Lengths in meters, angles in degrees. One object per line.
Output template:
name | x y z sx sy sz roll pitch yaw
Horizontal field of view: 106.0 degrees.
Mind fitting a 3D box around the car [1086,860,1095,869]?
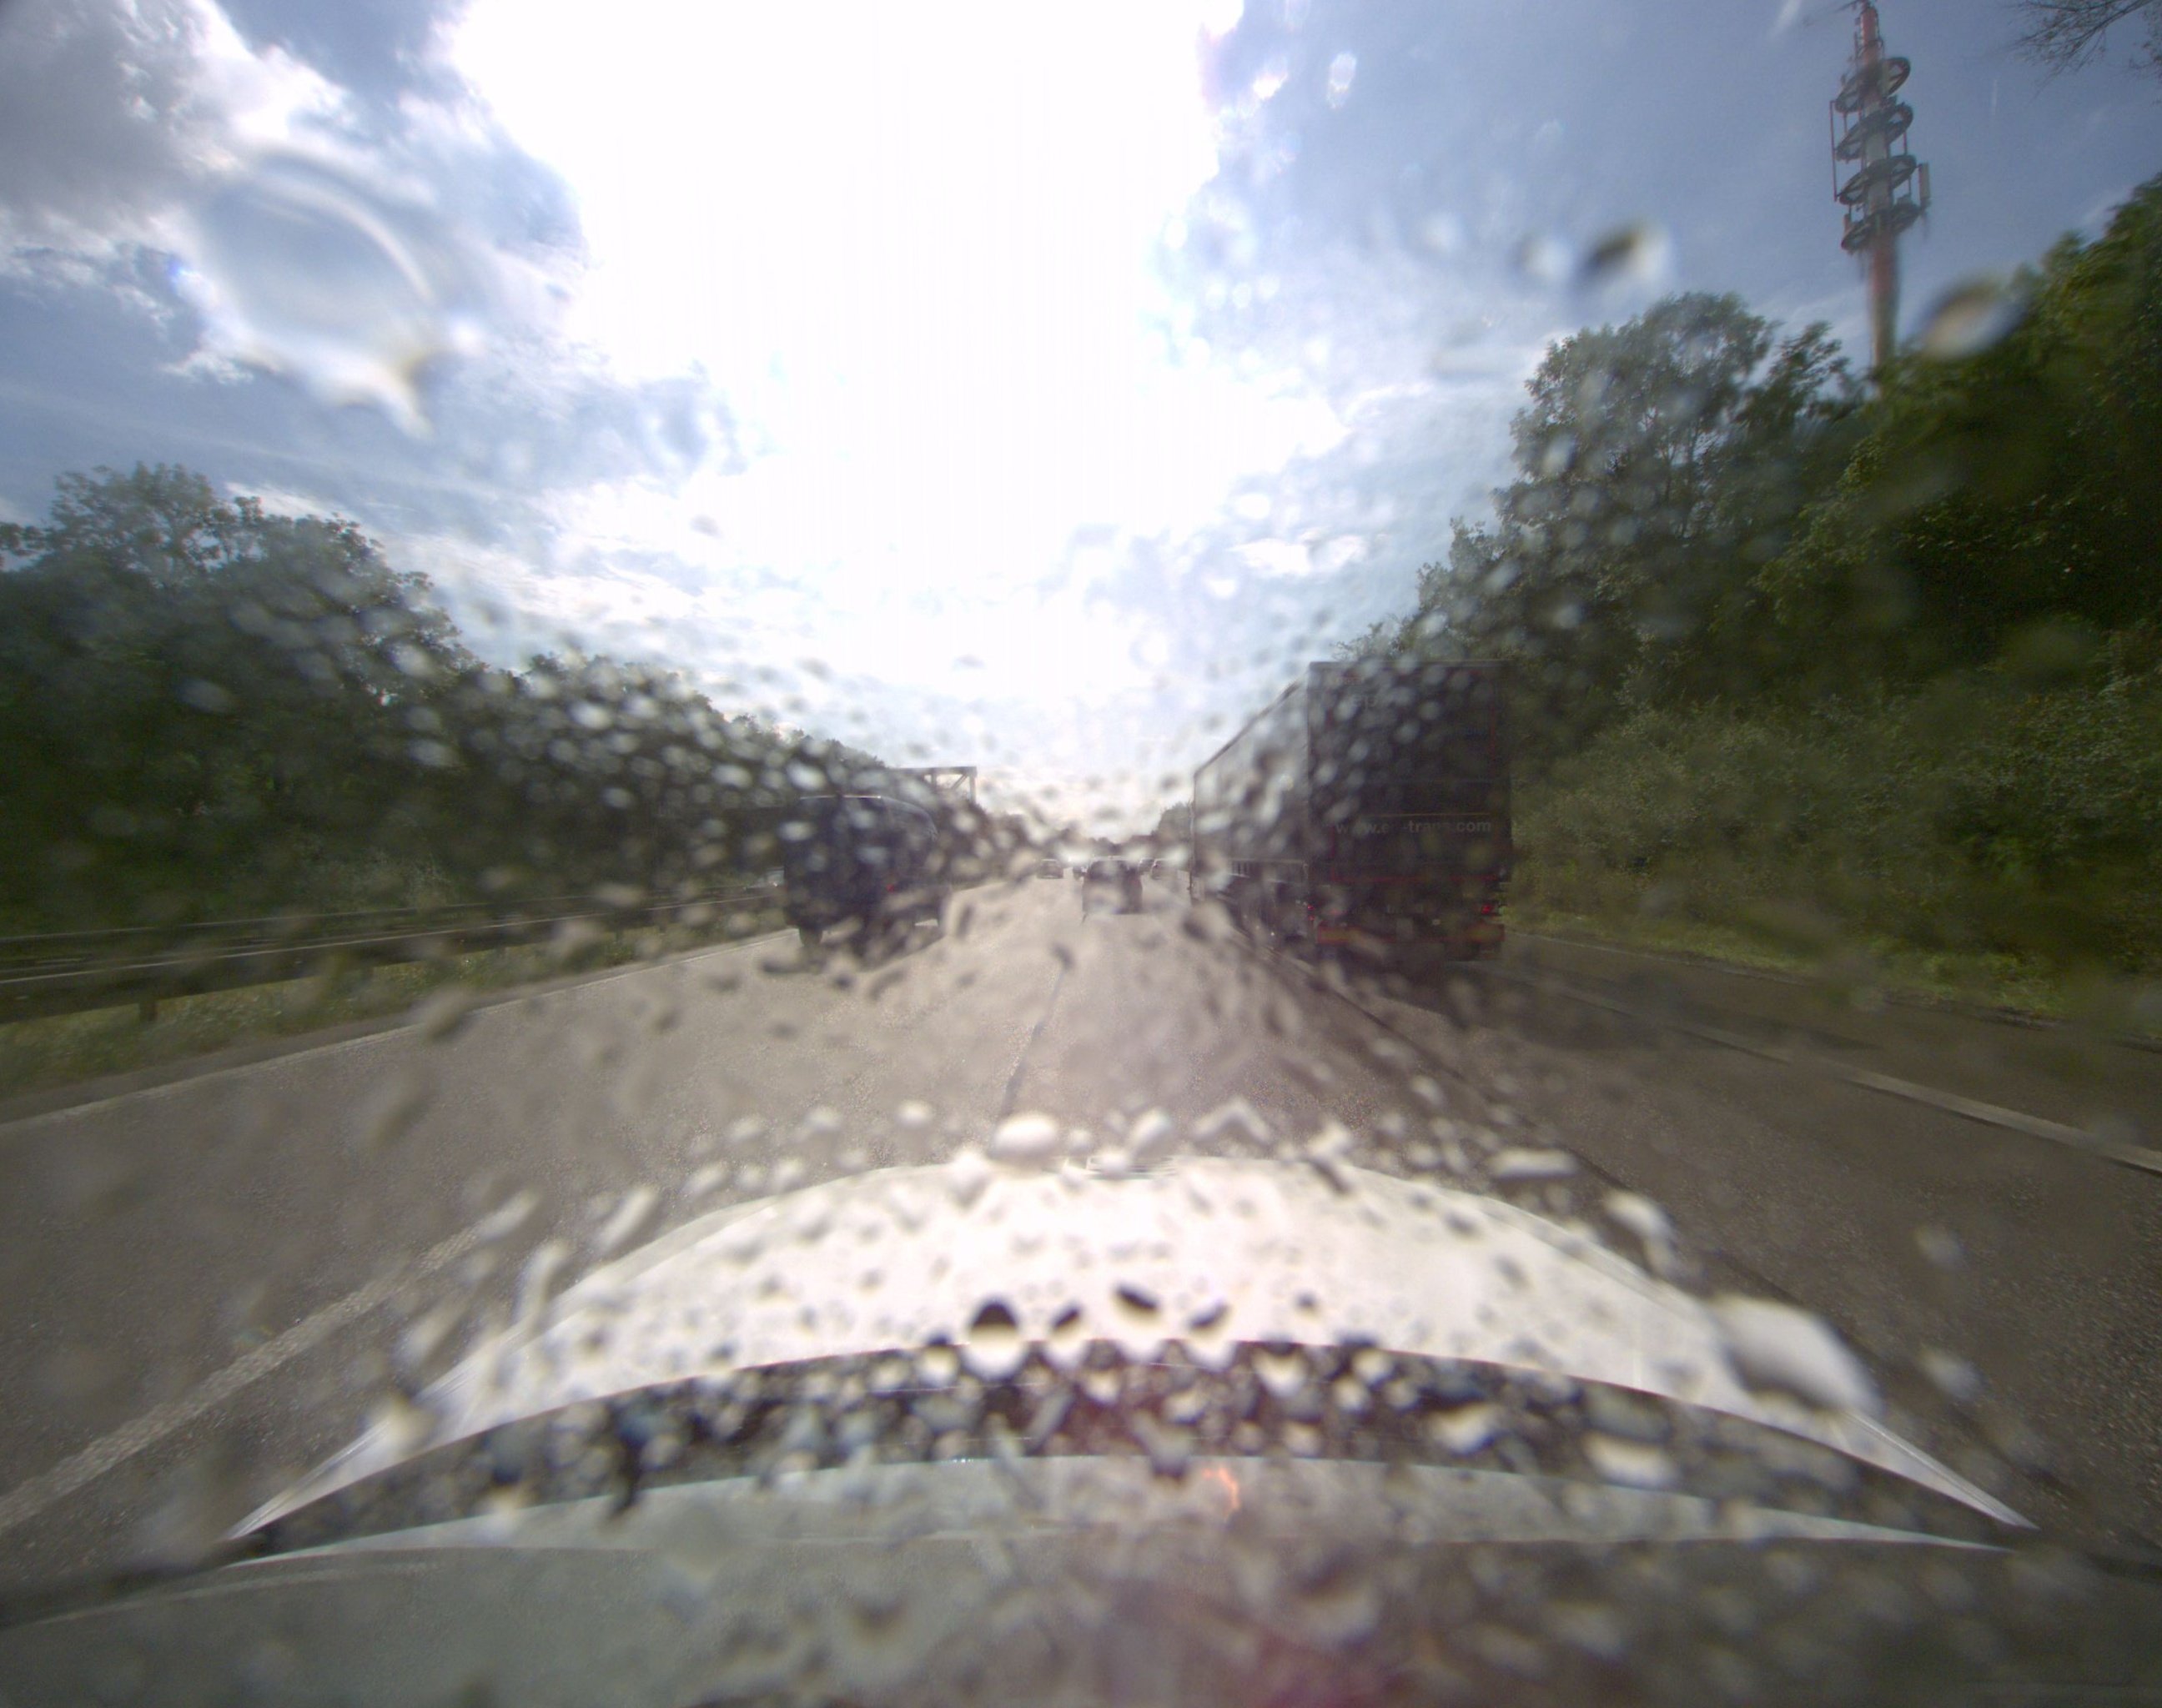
car | 1.779 1.967 151.630 1.669 1.597 3.437 -1 0 1

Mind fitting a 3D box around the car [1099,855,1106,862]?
car | 6.282 1.217 240.906 1.986 2.014 4.001 0 -1 1

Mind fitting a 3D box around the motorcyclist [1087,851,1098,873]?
motorcyclist | 0.919 0.637 64.425 0.819 1.761 1.389 0 -1 -3

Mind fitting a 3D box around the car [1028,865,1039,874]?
car | -10.619 3.375 182.489 1.986 2.014 4.734 0 -1 1

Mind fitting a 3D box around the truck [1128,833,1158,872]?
truck | 7.455 -0.111 98.597 3.190 4.404 9.436 -1 -1 2

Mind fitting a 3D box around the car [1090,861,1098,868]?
car | 2.893 2.226 177.251 1.669 1.490 3.437 -1 0 1

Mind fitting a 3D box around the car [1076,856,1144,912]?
car | 0.855 0.853 25.224 1.908 1.565 4.314 -1 0 1

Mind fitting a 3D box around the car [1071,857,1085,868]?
car | -0.423 1.238 122.720 1.886 1.628 4.195 -1 0 1

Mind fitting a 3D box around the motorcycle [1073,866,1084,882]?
motorcycle | -0.172 1.373 55.854 0.674 1.087 1.980 0 0 -2

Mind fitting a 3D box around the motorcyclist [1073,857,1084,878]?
motorcyclist | -0.167 0.923 55.841 0.669 1.442 1.019 0 -1 -2

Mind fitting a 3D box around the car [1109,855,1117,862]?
car | 7.010 0.911 177.015 1.626 1.490 3.437 -1 0 1

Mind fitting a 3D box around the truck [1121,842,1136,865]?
truck | 10.291 -0.008 178.912 2.871 4.688 12.661 0 -1 2

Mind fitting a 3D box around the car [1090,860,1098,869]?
car | 3.216 2.538 196.800 1.986 2.014 4.001 0 -1 1

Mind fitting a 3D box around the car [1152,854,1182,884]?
car | 6.098 1.069 58.002 1.842 2.014 4.089 0 -1 2

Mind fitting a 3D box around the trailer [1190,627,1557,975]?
trailer | 4.581 -0.618 17.215 3.076 4.312 14.110 -1 0 2

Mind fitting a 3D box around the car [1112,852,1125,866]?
car | 5.264 0.677 113.420 1.669 1.936 3.774 -1 0 1

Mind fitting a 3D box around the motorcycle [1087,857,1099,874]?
motorcycle | 0.919 0.897 64.499 0.818 1.263 2.115 0 0 -3

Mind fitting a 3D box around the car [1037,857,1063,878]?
car | -2.402 1.032 64.084 1.752 1.595 4.331 -1 0 1

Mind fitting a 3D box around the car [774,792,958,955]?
car | -3.965 0.333 16.238 2.008 2.648 5.778 -1 0 1

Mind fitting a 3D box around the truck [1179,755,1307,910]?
truck | 4.882 -0.579 25.788 3.040 4.325 5.888 0 -1 2

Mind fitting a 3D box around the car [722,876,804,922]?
car | -15.131 2.096 39.096 1.986 2.014 4.734 0 -1 1

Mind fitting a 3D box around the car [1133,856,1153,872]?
car | 5.957 0.971 78.400 1.669 1.490 3.437 -1 0 1
